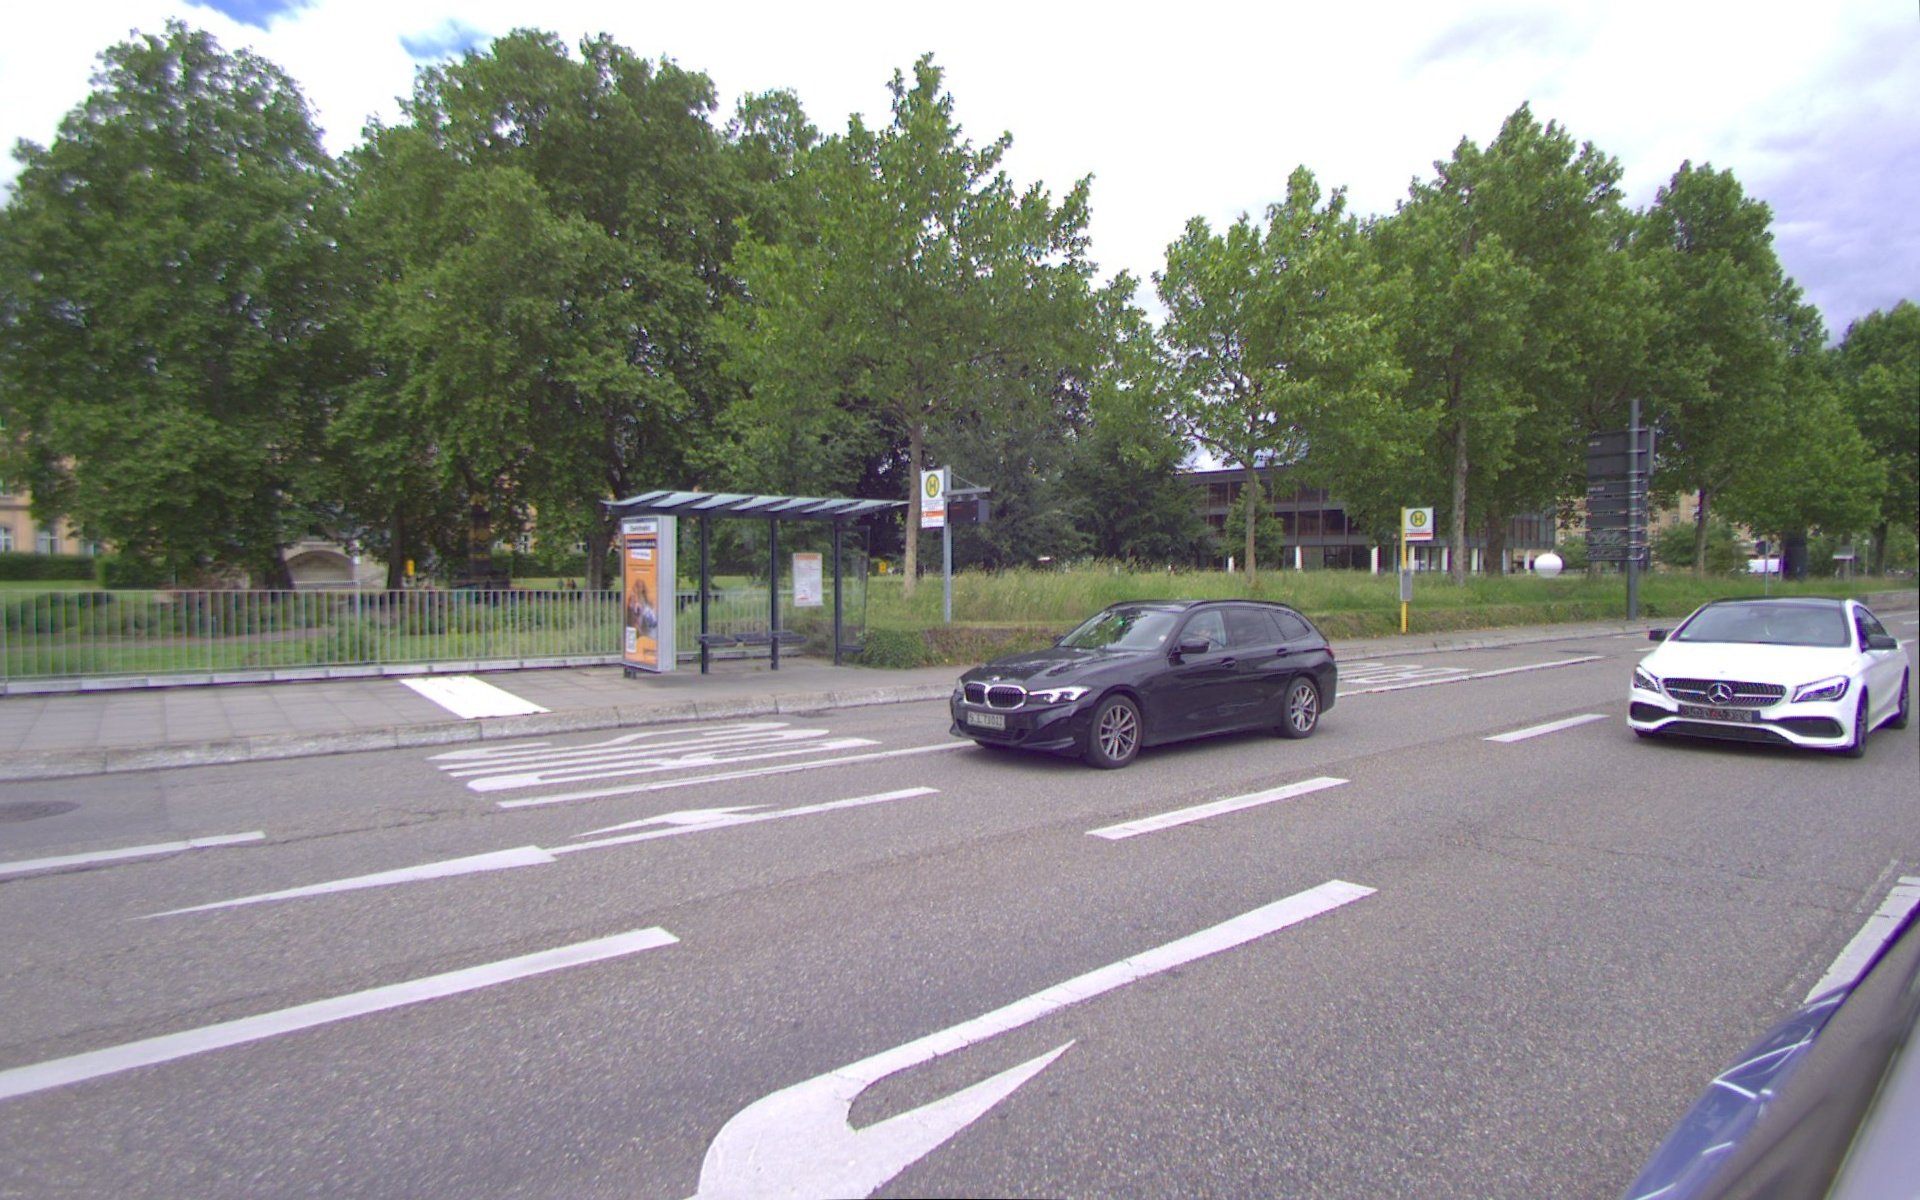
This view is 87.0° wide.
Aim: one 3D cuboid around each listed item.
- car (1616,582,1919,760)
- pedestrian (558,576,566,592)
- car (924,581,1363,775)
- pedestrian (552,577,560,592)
[{"bbox_3d":[8.667,0.557,10.573,4.446,1.437,1.798,-2,2,-39],"label":"car"},{"bbox_3d":[-35.691,-1.444,90.804,0.401,1.347,0.465,-2,0,21],"label":"pedestrian"},{"bbox_3d":[1.997,0.605,10.274,4.446,1.478,1.936,-2,1,-39],"label":"car"},{"bbox_3d":[-36.234,-1.425,90.746,0.401,1.347,0.465,-2,0,21],"label":"pedestrian"}]
